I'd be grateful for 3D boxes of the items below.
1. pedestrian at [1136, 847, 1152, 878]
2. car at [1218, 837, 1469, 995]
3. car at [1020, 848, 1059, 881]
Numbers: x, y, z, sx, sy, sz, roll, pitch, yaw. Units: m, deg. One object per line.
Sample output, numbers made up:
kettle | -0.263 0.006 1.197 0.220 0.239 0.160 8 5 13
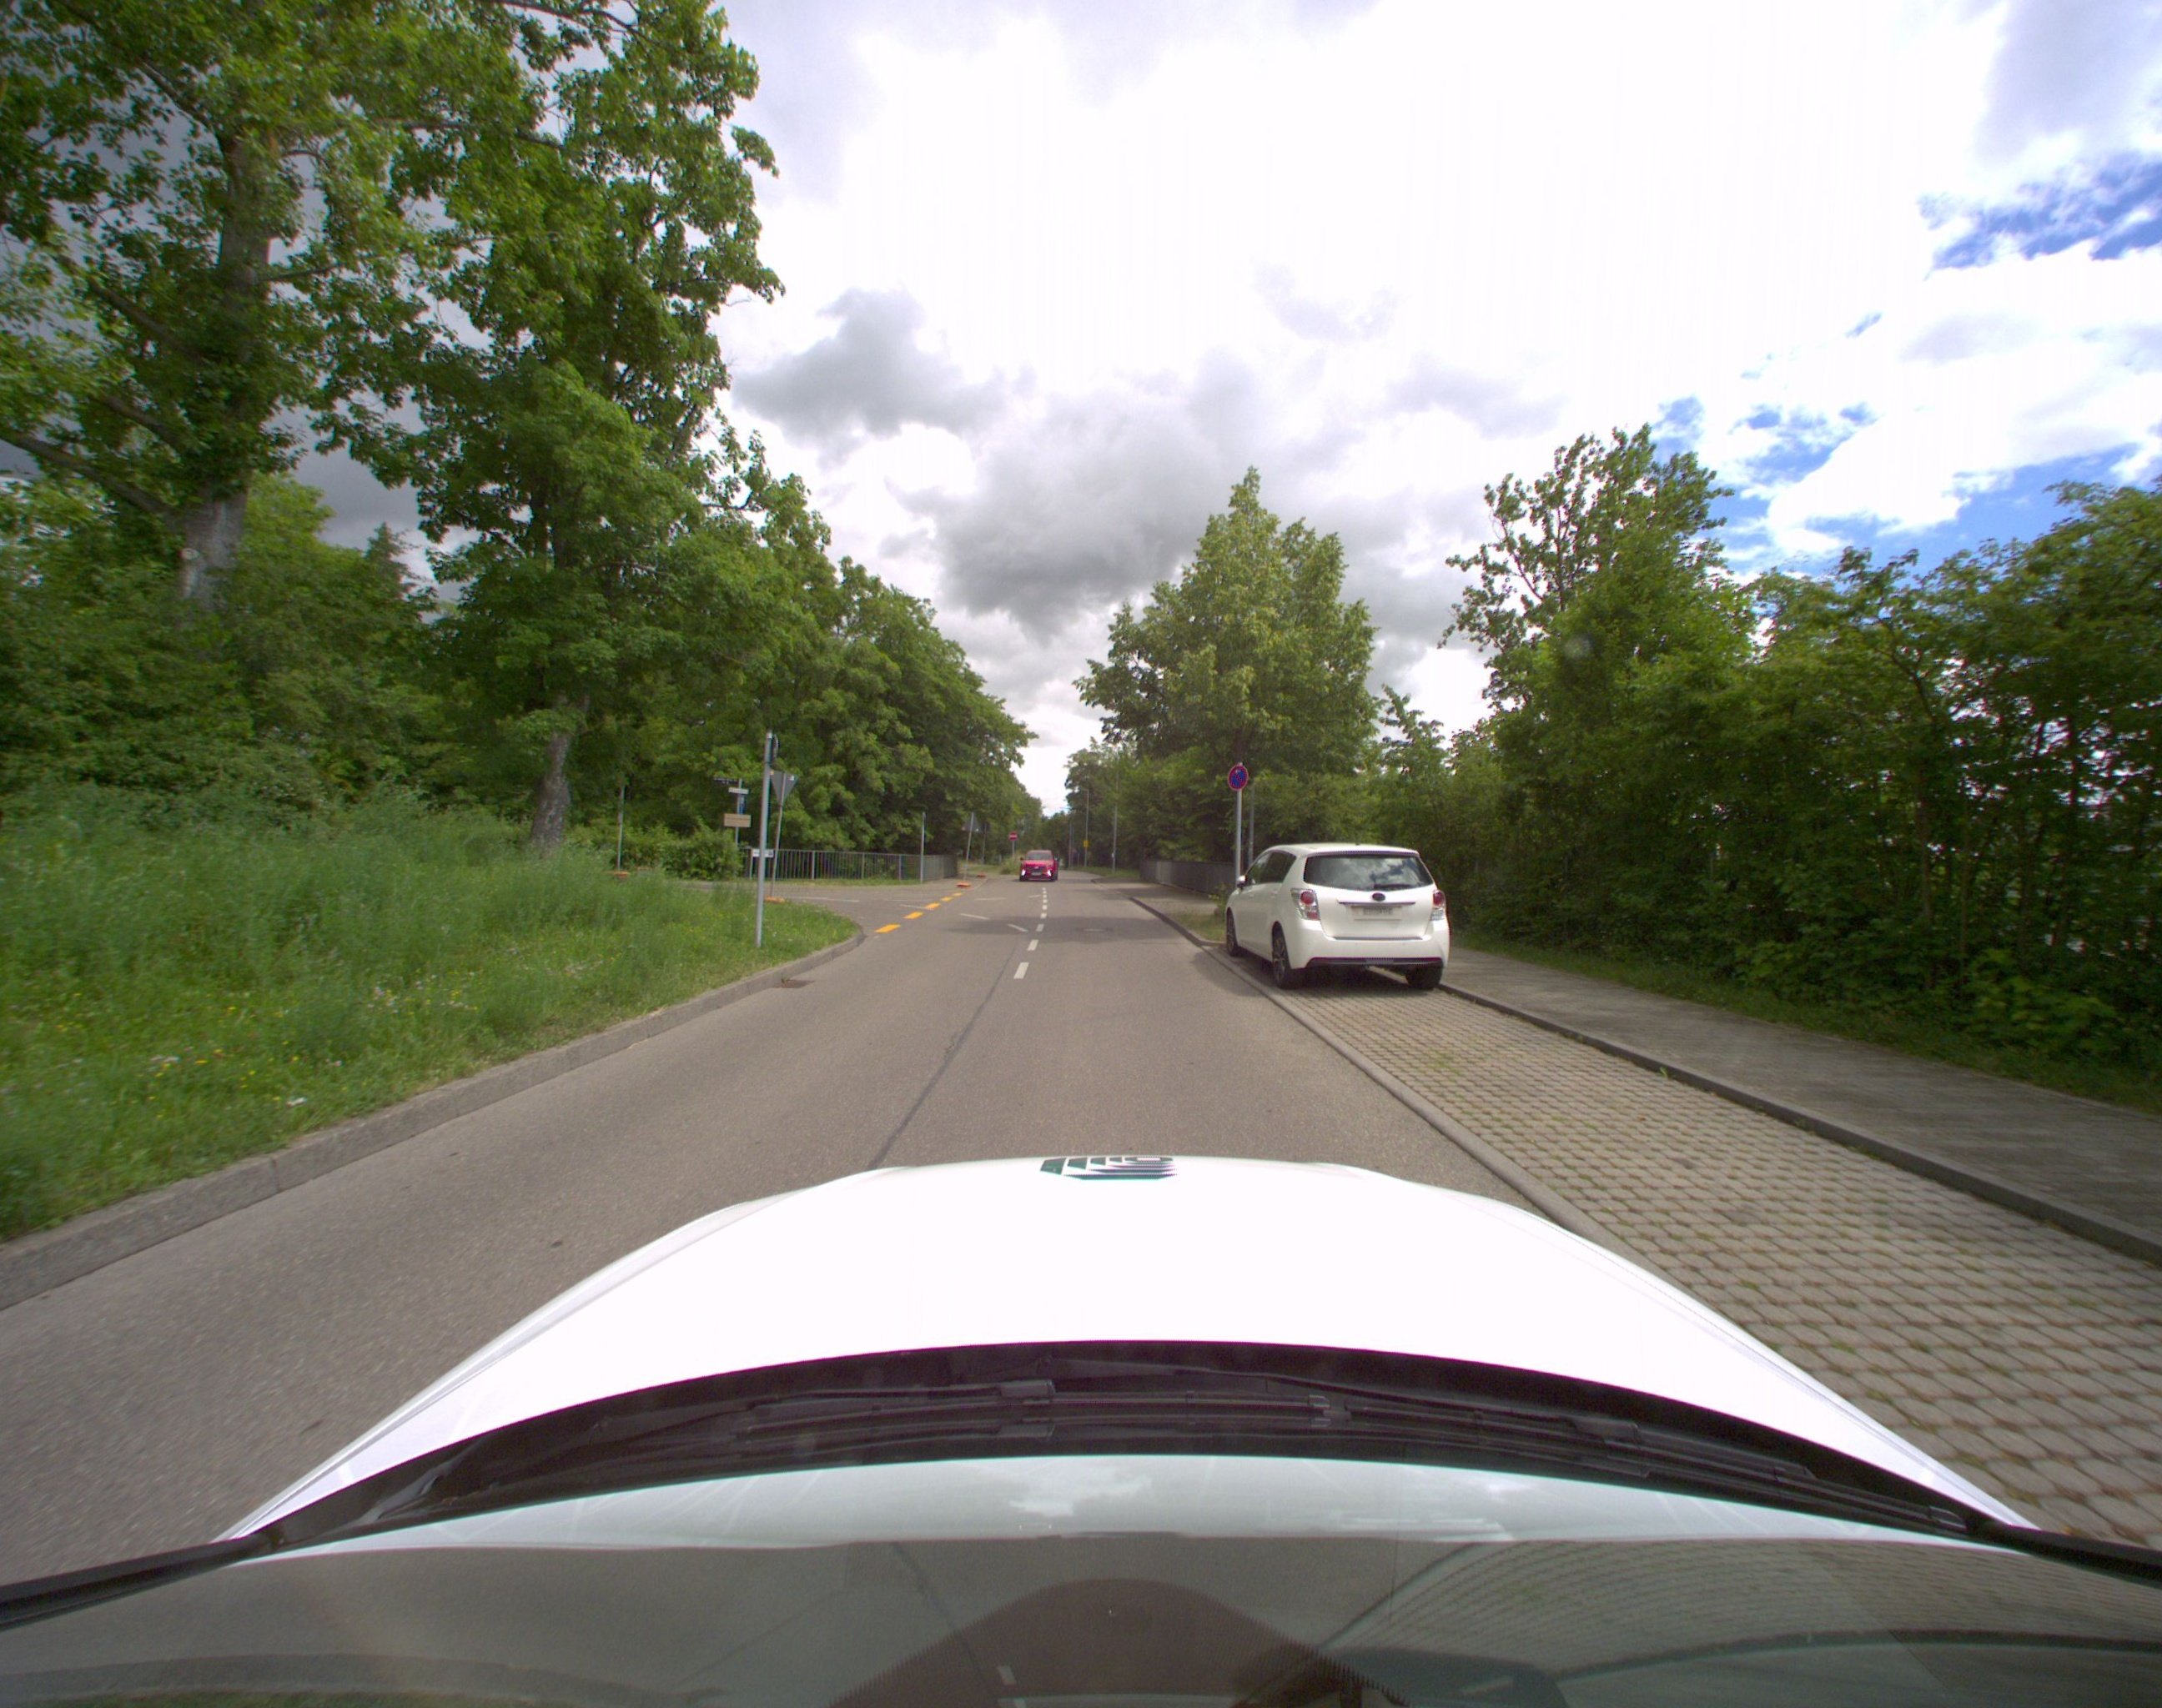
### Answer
pedestrian | 3.683 0.510 47.451 0.591 1.783 0.675 3 -2 -34
car | 3.054 0.626 10.521 1.799 1.600 4.370 0 0 -1
car | -2.204 0.536 43.970 1.837 1.659 4.221 1 0 0
